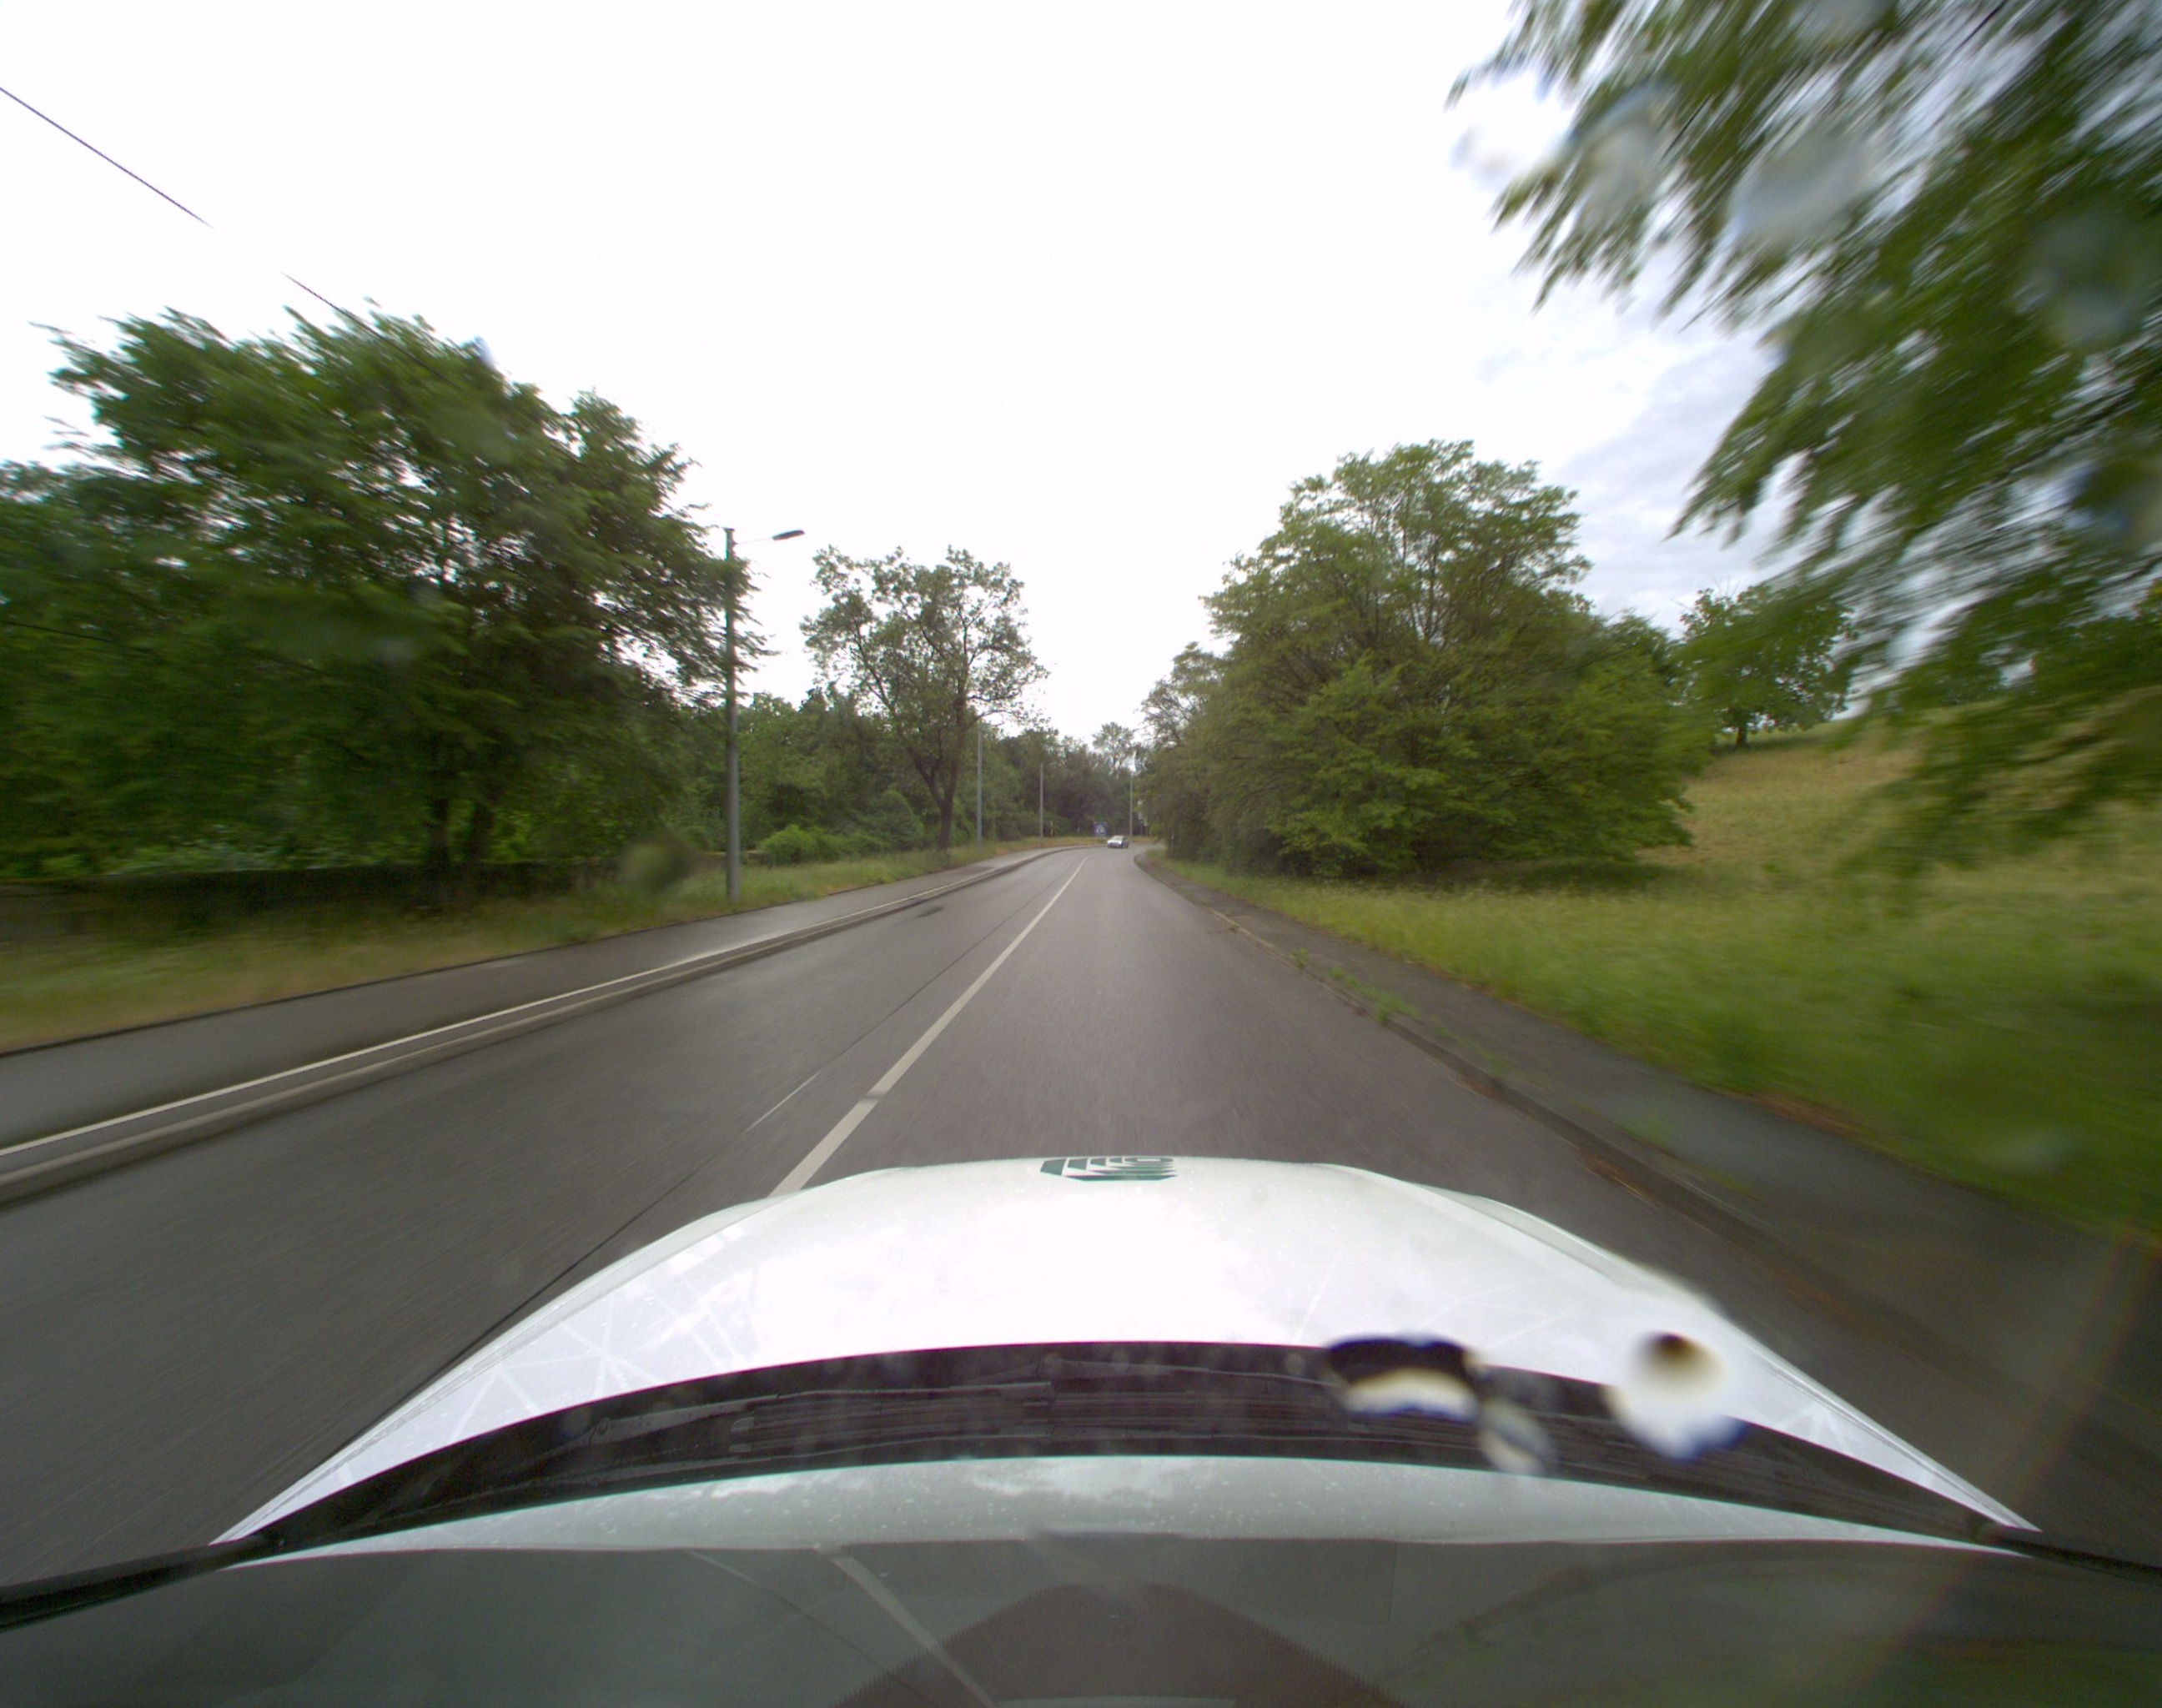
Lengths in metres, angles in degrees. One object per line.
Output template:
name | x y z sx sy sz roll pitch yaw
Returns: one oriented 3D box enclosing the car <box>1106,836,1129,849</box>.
car | 4.570 -1.445 101.042 1.767 1.430 4.494 4 2 15
